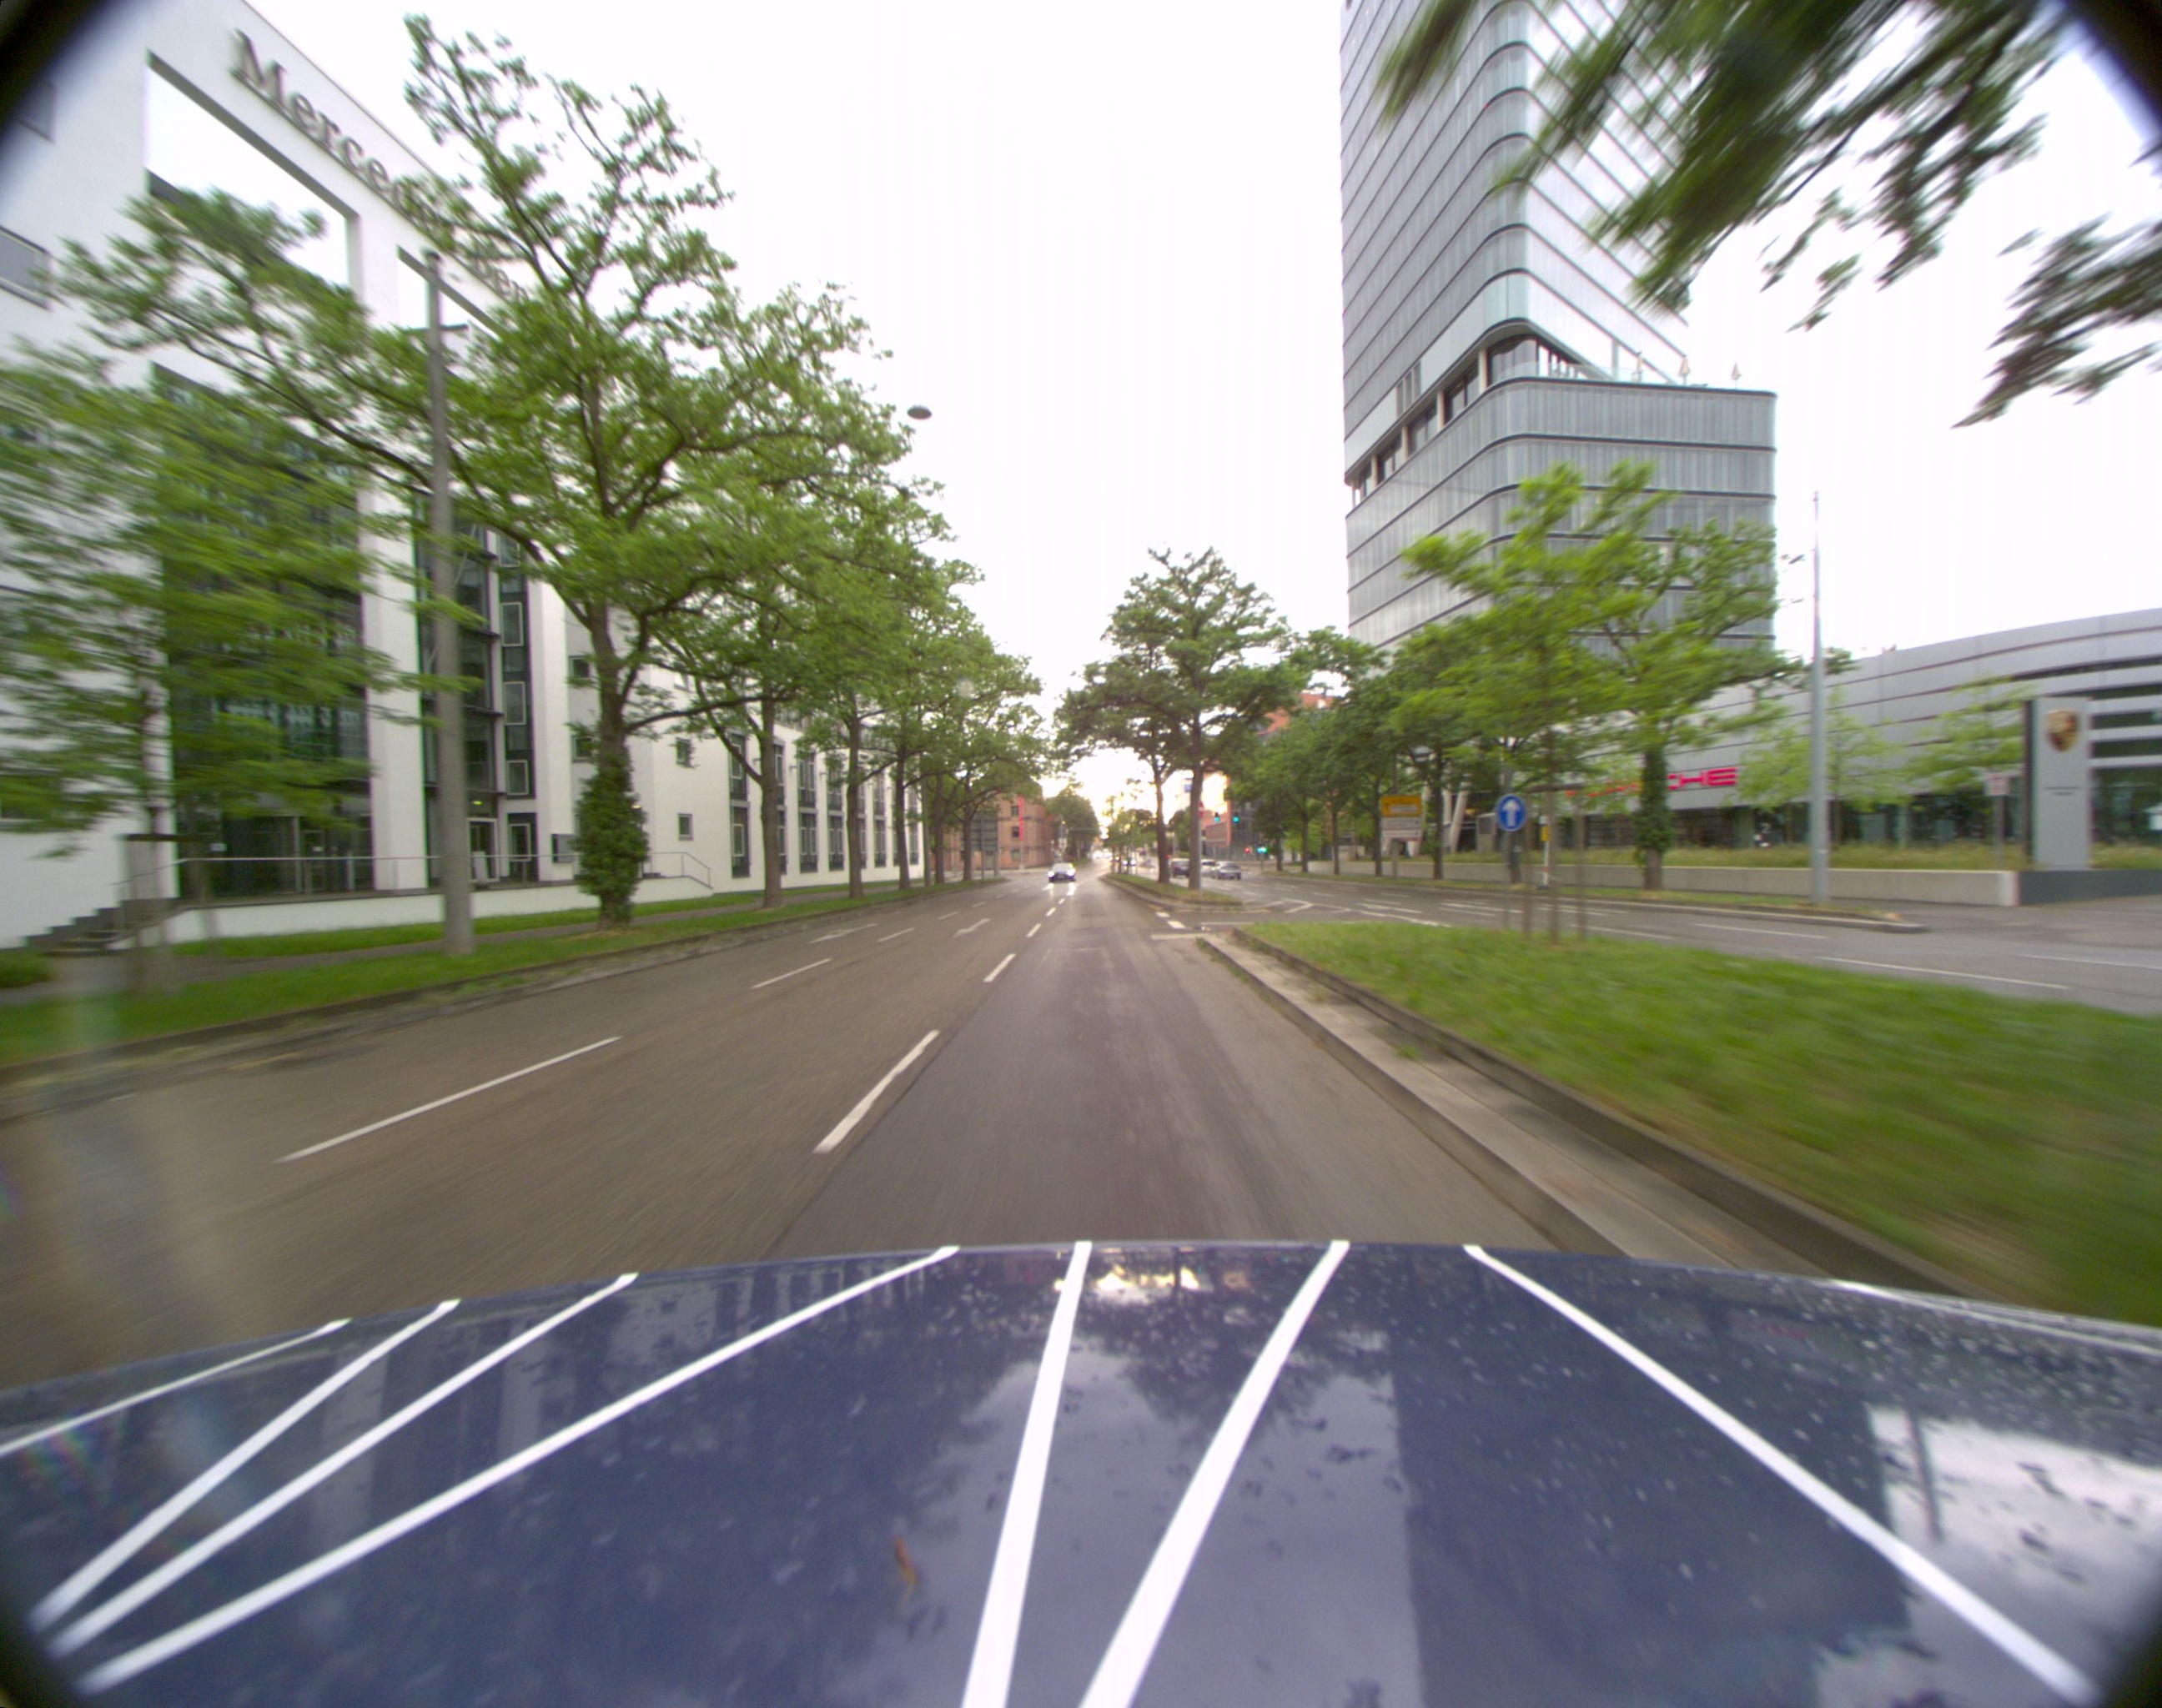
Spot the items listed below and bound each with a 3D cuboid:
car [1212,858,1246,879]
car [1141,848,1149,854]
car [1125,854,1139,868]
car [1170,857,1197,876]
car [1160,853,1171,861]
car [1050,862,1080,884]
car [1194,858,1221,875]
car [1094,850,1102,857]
[{"bbox_3d":[11.918,1.158,61.389,1.894,1.445,3.999,-4,1,0],"label":"car"},{"bbox_3d":[17.203,-0.808,203.955,1.782,1.445,4.000,-3,1,3],"label":"car"},{"bbox_3d":[7.789,1.099,115.862,1.998,2.002,4.001,-1,0,3],"label":"car"},{"bbox_3d":[8.980,1.065,66.796,1.846,1.581,4.173,-1,1,0],"label":"car"},{"bbox_3d":[17.185,0.589,155.231,1.783,1.445,3.999,-4,1,0],"label":"car"},{"bbox_3d":[-1.132,1.381,56.944,1.878,1.346,4.332,-4,1,2],"label":"car"},{"bbox_3d":[12.035,1.175,72.454,1.783,1.445,3.999,-4,1,0],"label":"car"},{"bbox_3d":[4.308,-0.095,193.404,1.998,1.575,4.001,-1,0,3],"label":"car"}]
